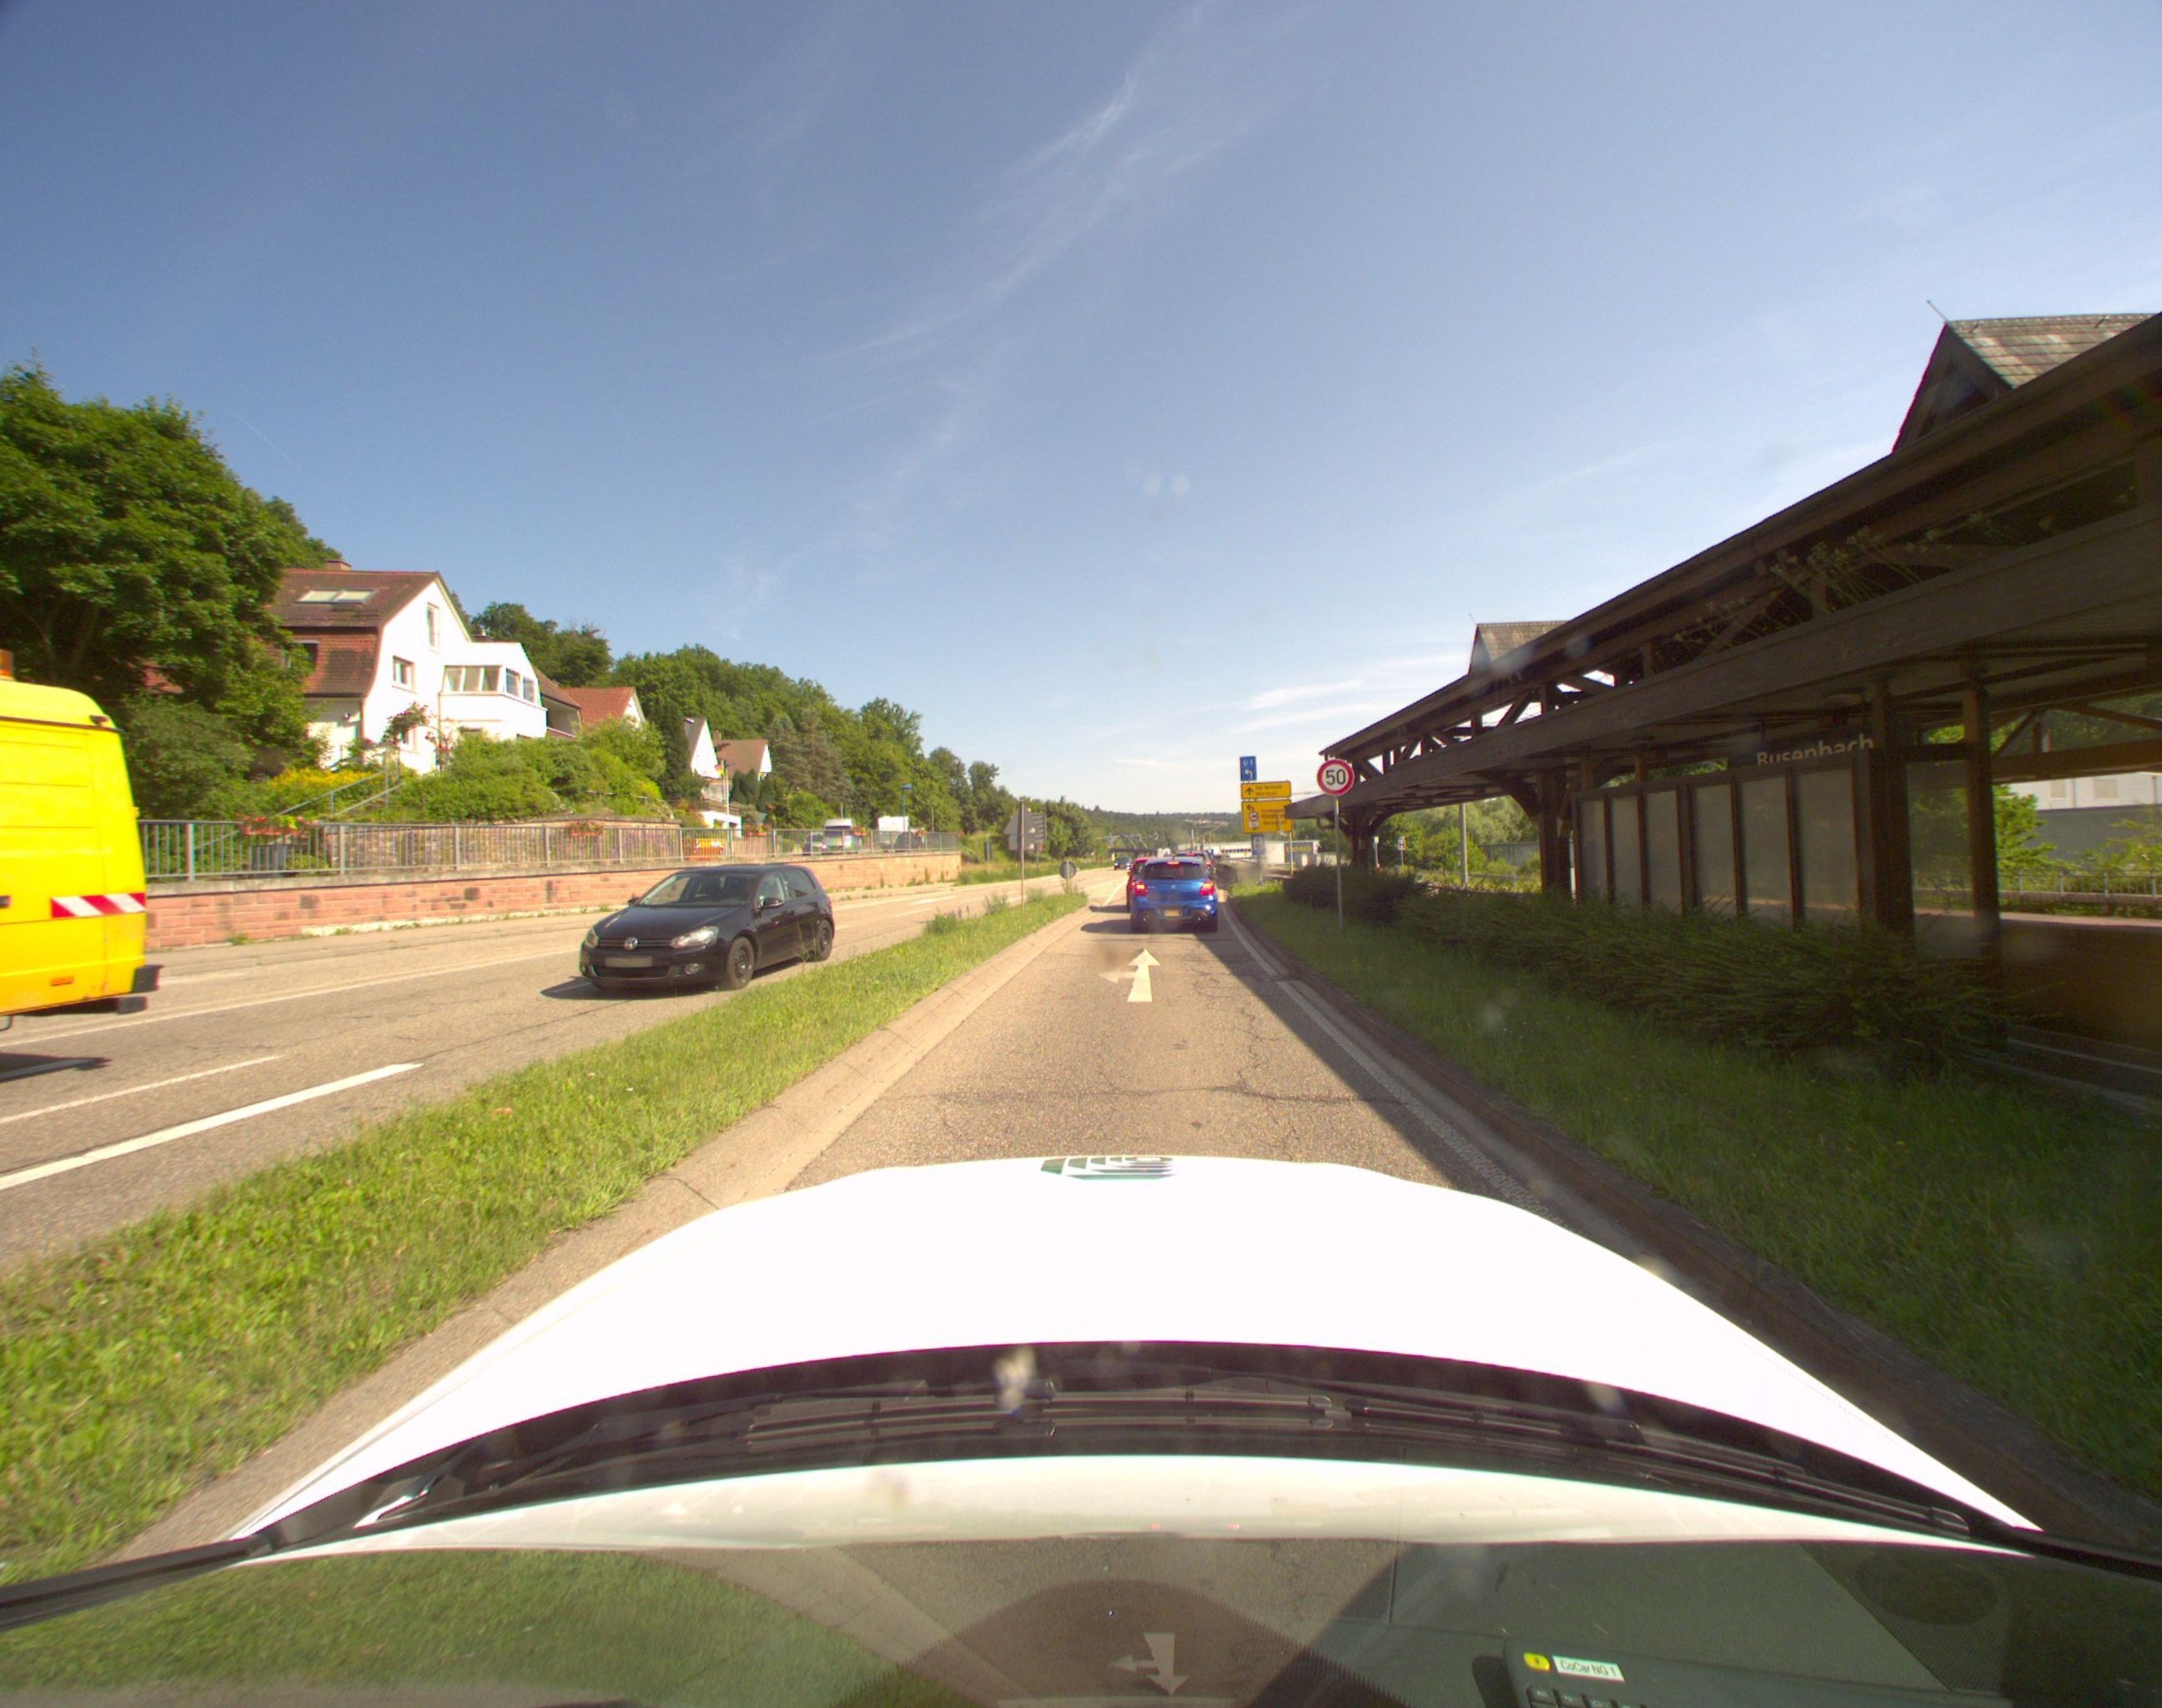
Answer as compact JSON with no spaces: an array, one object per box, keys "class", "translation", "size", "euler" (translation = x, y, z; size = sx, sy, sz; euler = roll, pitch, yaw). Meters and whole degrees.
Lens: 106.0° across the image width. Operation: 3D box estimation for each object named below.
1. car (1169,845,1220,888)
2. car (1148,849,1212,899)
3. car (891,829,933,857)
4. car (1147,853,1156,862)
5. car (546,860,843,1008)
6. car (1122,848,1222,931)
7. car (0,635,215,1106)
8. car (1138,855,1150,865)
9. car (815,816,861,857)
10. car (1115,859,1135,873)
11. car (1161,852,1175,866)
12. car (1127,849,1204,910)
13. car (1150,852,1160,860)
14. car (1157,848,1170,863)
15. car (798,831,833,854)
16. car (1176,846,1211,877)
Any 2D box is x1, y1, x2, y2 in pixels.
[{"class":"car","translation":[4.781,0.471,34.377],"size":[1.983,1.686,4.506],"euler":[0,0,7]},{"class":"car","translation":[3.480,0.632,28.378],"size":[1.983,1.531,4.611],"euler":[-2,0,7]},{"class":"car","translation":[-11.935,-0.779,57.766],"size":[2.015,1.920,4.730],"euler":[0,1,-1]},{"class":"car","translation":[16.262,0.880,188.029],"size":[1.985,2.013,4.003],"euler":[-1,0,2]},{"class":"car","translation":[-4.673,0.863,10.611],"size":[1.738,1.462,4.046],"euler":[-2,0,2]},{"class":"car","translation":[1.921,0.666,17.520],"size":[1.859,1.548,4.006],"euler":[-1,0,5]},{"class":"car","translation":[-8.216,0.112,3.238],"size":[2.457,3.011,6.470],"euler":[0,0,2]},{"class":"car","translation":[11.660,1.149,150.607],"size":[1.984,1.783,4.006],"euler":[-1,0,6]},{"class":"car","translation":[-15.173,-1.085,51.119],"size":[2.093,2.444,5.766],"euler":[0,1,-10]},{"class":"car","translation":[5.061,1.390,93.469],"size":[1.781,1.470,4.727],"euler":[-1,0,9]},{"class":"car","translation":[12.000,0.618,112.439],"size":[1.984,1.816,4.007],"euler":[0,1,6]},{"class":"car","translation":[2.445,0.663,23.175],"size":[1.983,1.571,4.008],"euler":[-1,0,7]},{"class":"car","translation":[14.816,0.471,162.363],"size":[1.984,1.591,4.006],"euler":[0,0,5]},{"class":"car","translation":[12.791,0.242,126.429],"size":[1.983,2.144,4.727],"euler":[-1,0,6]},{"class":"car","translation":[-20.098,-0.811,61.751],"size":[1.895,1.629,3.986],"euler":[-2,0,-10]},{"class":"car","translation":[6.632,0.401,48.255],"size":[1.983,1.736,4.008],"euler":[0,0,7]}]
